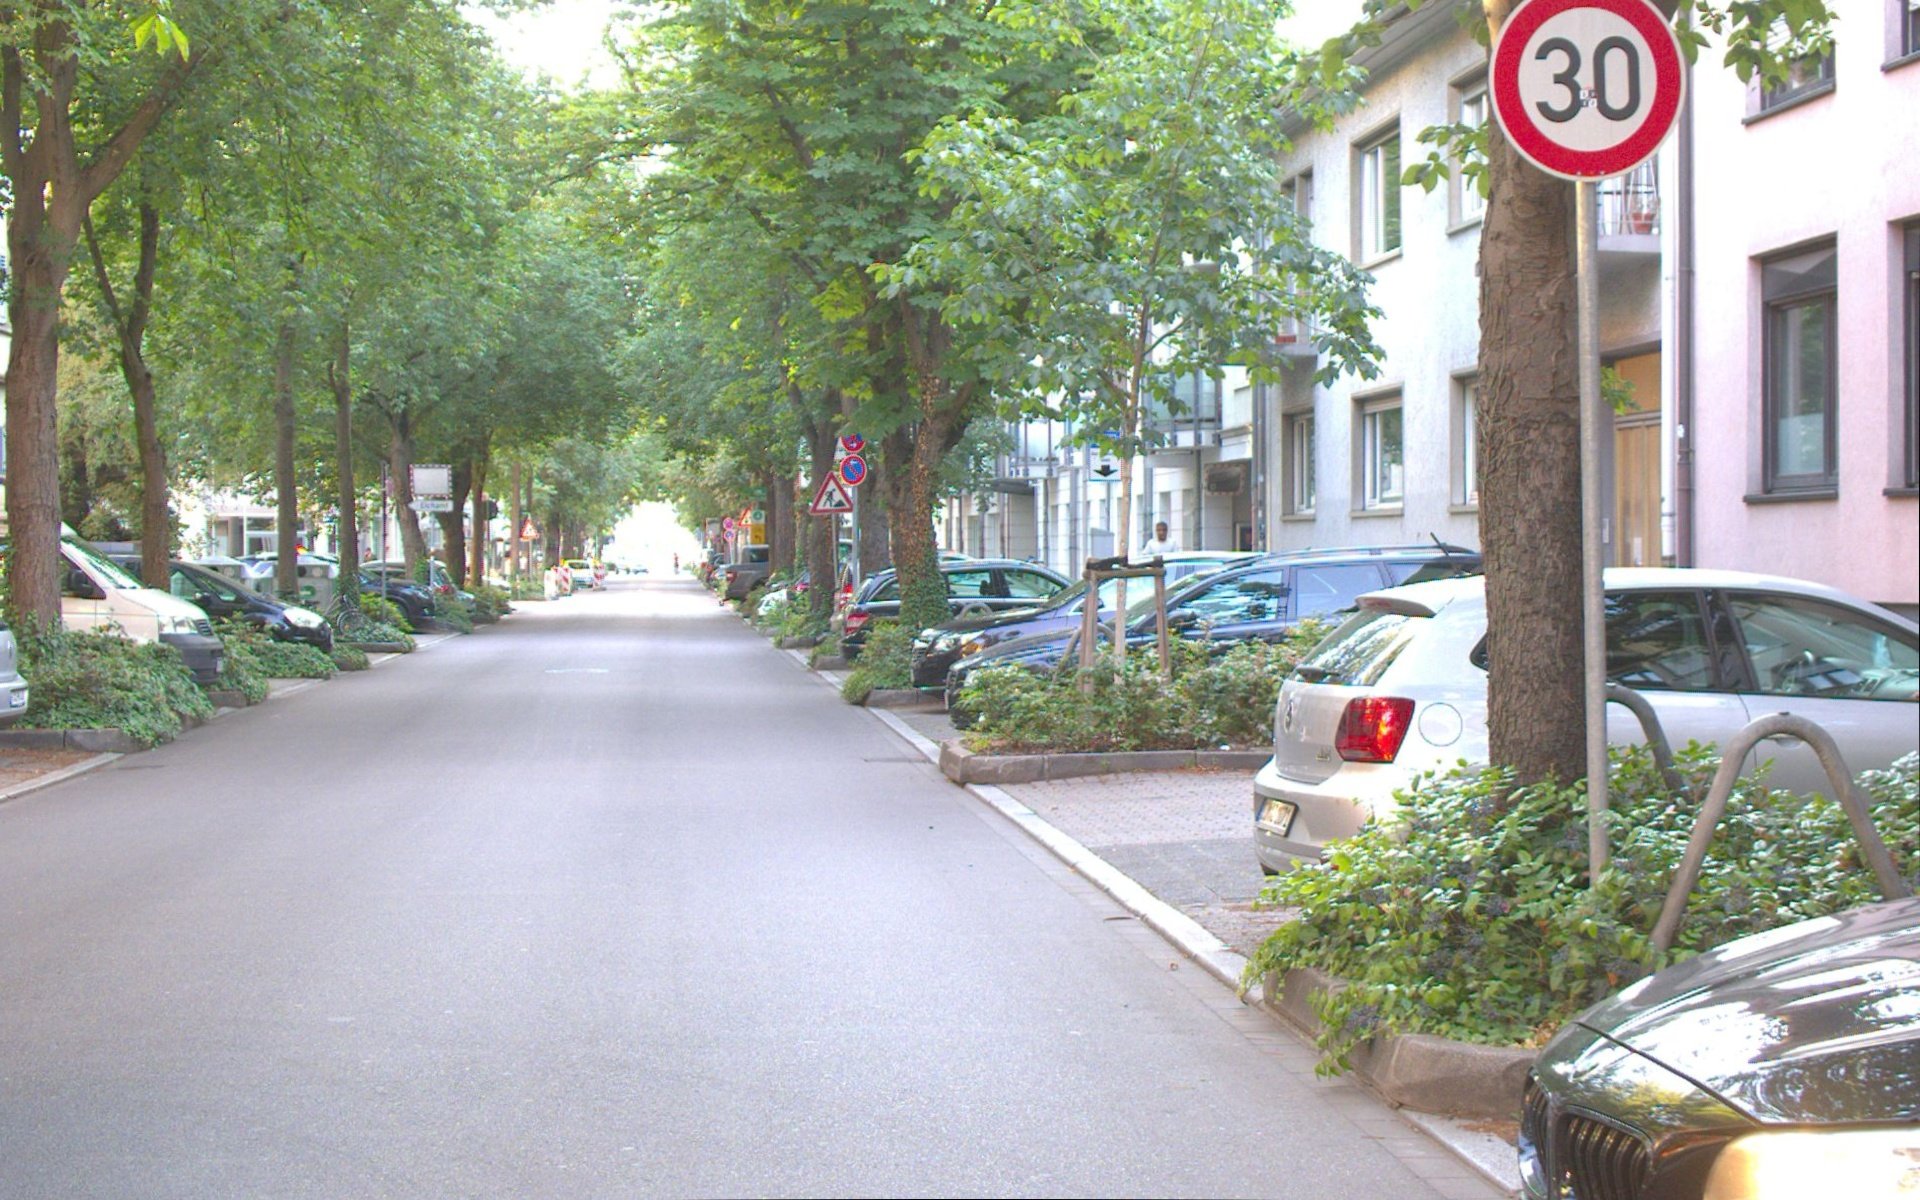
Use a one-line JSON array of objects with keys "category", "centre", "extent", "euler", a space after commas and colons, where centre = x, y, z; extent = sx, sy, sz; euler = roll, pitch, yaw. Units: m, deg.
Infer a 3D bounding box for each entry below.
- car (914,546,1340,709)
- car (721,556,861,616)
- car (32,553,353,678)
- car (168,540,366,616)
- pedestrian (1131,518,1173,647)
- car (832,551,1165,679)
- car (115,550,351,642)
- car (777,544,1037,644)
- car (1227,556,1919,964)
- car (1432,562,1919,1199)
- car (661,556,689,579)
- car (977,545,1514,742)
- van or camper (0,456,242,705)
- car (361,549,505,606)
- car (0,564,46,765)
[{"category": "car", "centre": [1.595, 0.245, 33.762], "extent": [3.967, 1.522, 1.785], "euler": [0, 1, -5]}, {"category": "car", "centre": [-4.864, -0.421, 98.646], "extent": [3.967, 1.678, 1.785], "euler": [0, 1, -3]}, {"category": "car", "centre": [-10.238, 0.190, 46.069], "extent": [3.967, 1.614, 1.785], "euler": [0, 1, -4]}, {"category": "car", "centre": [-14.943, -0.483, 74.302], "extent": [3.967, 1.614, 1.785], "euler": [0, 1, -3]}, {"category": "pedestrian", "centre": [2.992, -0.275, 53.671], "extent": [0.589, 2.007, 0.669], "euler": [0, 1, -3]}, {"category": "car", "centre": [0.445, 0.172, 42.617], "extent": [3.967, 1.522, 1.785], "euler": [0, 1, -5]}, {"category": "car", "centre": [-13.211, -0.083, 62.646], "extent": [3.967, 1.614, 1.785], "euler": [0, 1, -3]}, {"category": "car", "centre": [-0.864, -0.108, 54.533], "extent": [3.967, 1.522, 1.785], "euler": [0, 1, -6]}, {"category": "car", "centre": [3.144, 0.571, 13.622], "extent": [3.908, 1.471, 1.665], "euler": [0, 1, -6]}, {"category": "car", "centre": [3.298, 0.674, 5.550], "extent": [4.744, 1.475, 1.800], "euler": [0, 1, -4]}, {"category": "car", "centre": [-19.702, -2.244, 237.714], "extent": [1.822, 1.525, 4.001], "euler": [1, 0, -4]}, {"category": "car", "centre": [2.209, 0.317, 27.253], "extent": [3.967, 1.471, 1.785], "euler": [0, 1, -6]}, {"category": "van or camper", "centre": [-9.816, -0.203, 35.052], "extent": [4.663, 2.470, 2.000], "euler": [0, 1, -5]}, {"category": "car", "centre": [-15.320, -0.657, 100.094], "extent": [3.967, 1.614, 1.785], "euler": [0, 1, -3]}, {"category": "car", "centre": [-9.301, 0.496, 26.723], "extent": [3.967, 1.512, 1.785], "euler": [0, 1, -4]}]
